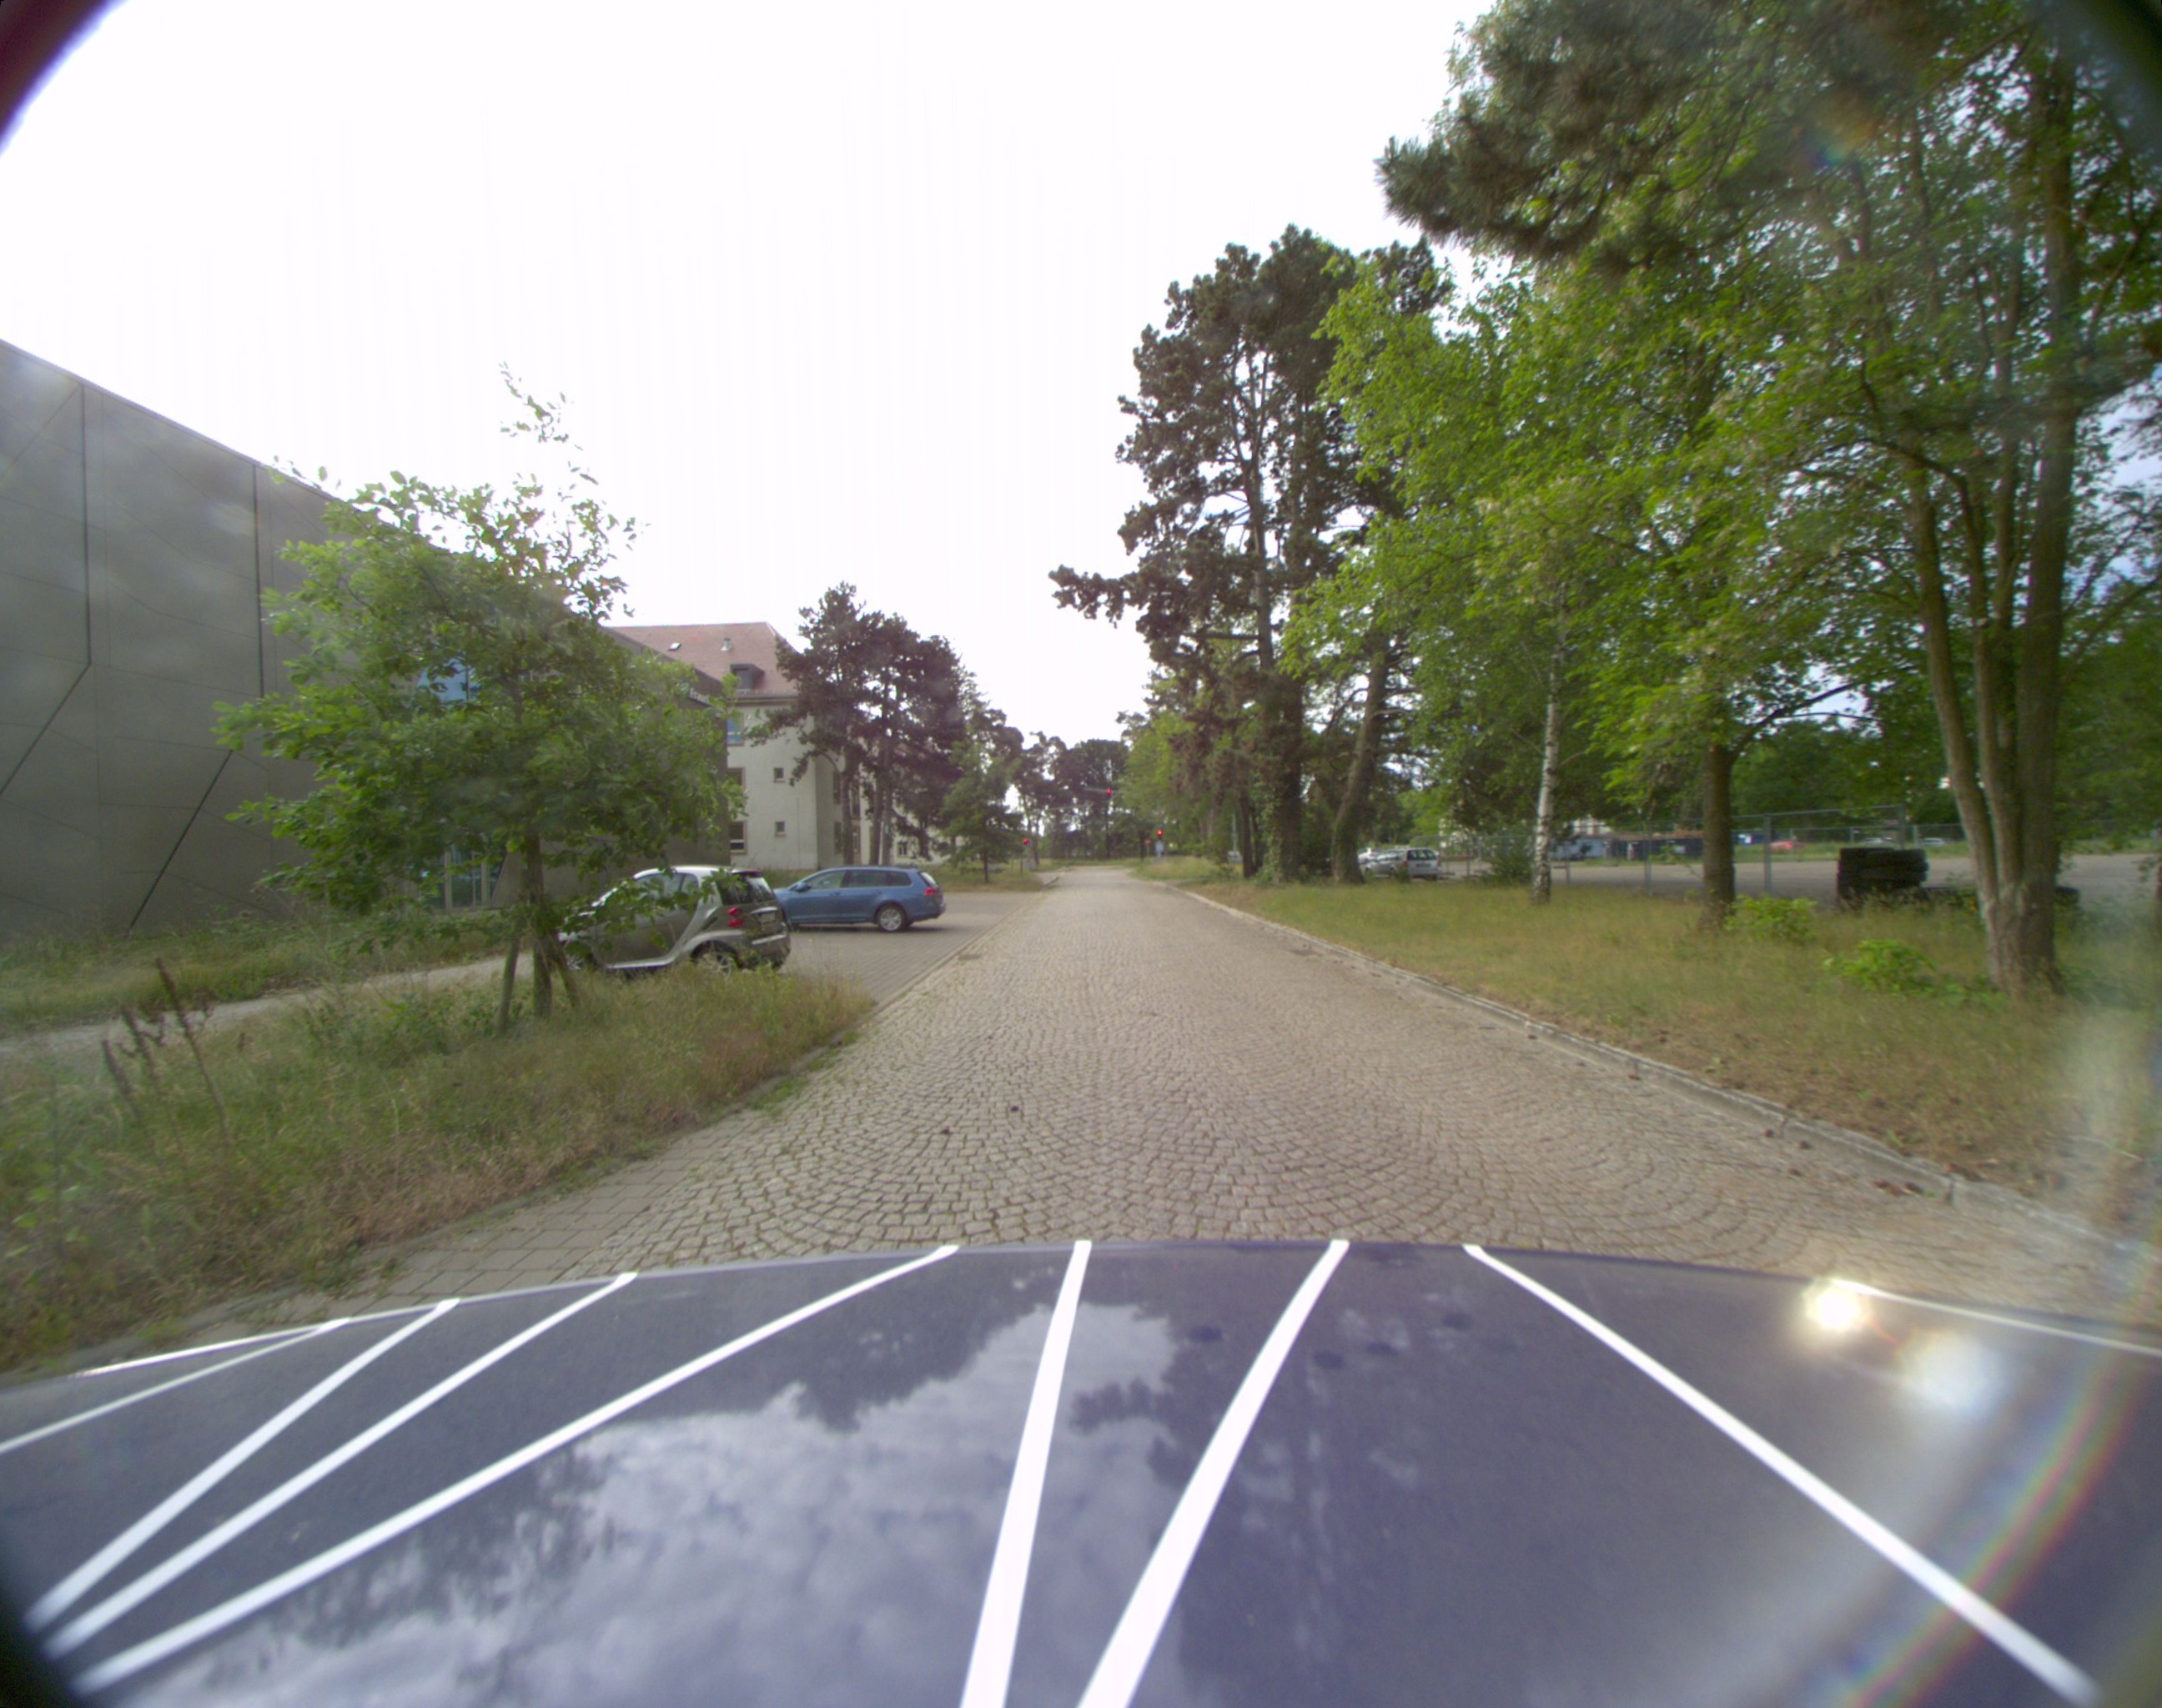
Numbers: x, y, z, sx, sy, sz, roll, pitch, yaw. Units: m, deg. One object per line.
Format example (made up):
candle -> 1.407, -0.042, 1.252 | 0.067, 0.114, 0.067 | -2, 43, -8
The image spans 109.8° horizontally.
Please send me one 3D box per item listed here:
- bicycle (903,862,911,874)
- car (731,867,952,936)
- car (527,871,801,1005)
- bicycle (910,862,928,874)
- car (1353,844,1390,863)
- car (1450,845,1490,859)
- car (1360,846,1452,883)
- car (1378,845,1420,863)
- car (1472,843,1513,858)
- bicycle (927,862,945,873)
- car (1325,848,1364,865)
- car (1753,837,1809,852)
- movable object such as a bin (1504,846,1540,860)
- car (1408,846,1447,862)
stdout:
bicycle -> -17.691, 1.398, 77.274 | 0.476, 1.121, 1.656 | -2, 0, 0
car -> -5.366, 1.059, 17.474 | 4.503, 1.466, 1.830 | 0, 0, -2
car -> -5.416, 1.042, 10.109 | 2.716, 1.547, 1.654 | 1, 0, 3
bicycle -> -16.134, 1.403, 75.629 | 1.655, 1.079, 0.615 | -2, 0, 2
car -> 26.393, -0.019, 69.104 | 1.674, 1.510, 3.899 | -2, -2, -2
car -> 41.077, -0.210, 80.292 | 1.829, 1.466, 4.401 | -2, 0, -2
car -> 13.423, 0.404, 31.699 | 1.829, 1.408, 4.420 | 1, 0, -2
car -> 29.046, 0.003, 69.504 | 1.829, 1.466, 4.401 | -2, 0, -2
car -> 43.629, -0.367, 80.618 | 1.829, 1.466, 4.401 | -2, 0, -2
bicycle -> -14.434, 1.344, 75.762 | 1.656, 1.079, 0.614 | -2, 0, -3
car -> 23.891, 0.248, 69.071 | 1.829, 1.417, 4.319 | -2, 0, -2
car -> 74.030, -0.967, 80.460 | 1.829, 1.466, 4.402 | -2, 0, 0
movable object such as a bin -> 32.984, -0.050, 56.856 | 1.447, 0.963, 1.957 | -2, 0, -7
car -> 31.845, 0.018, 69.974 | 1.637, 1.391, 4.036 | -2, 0, -2
